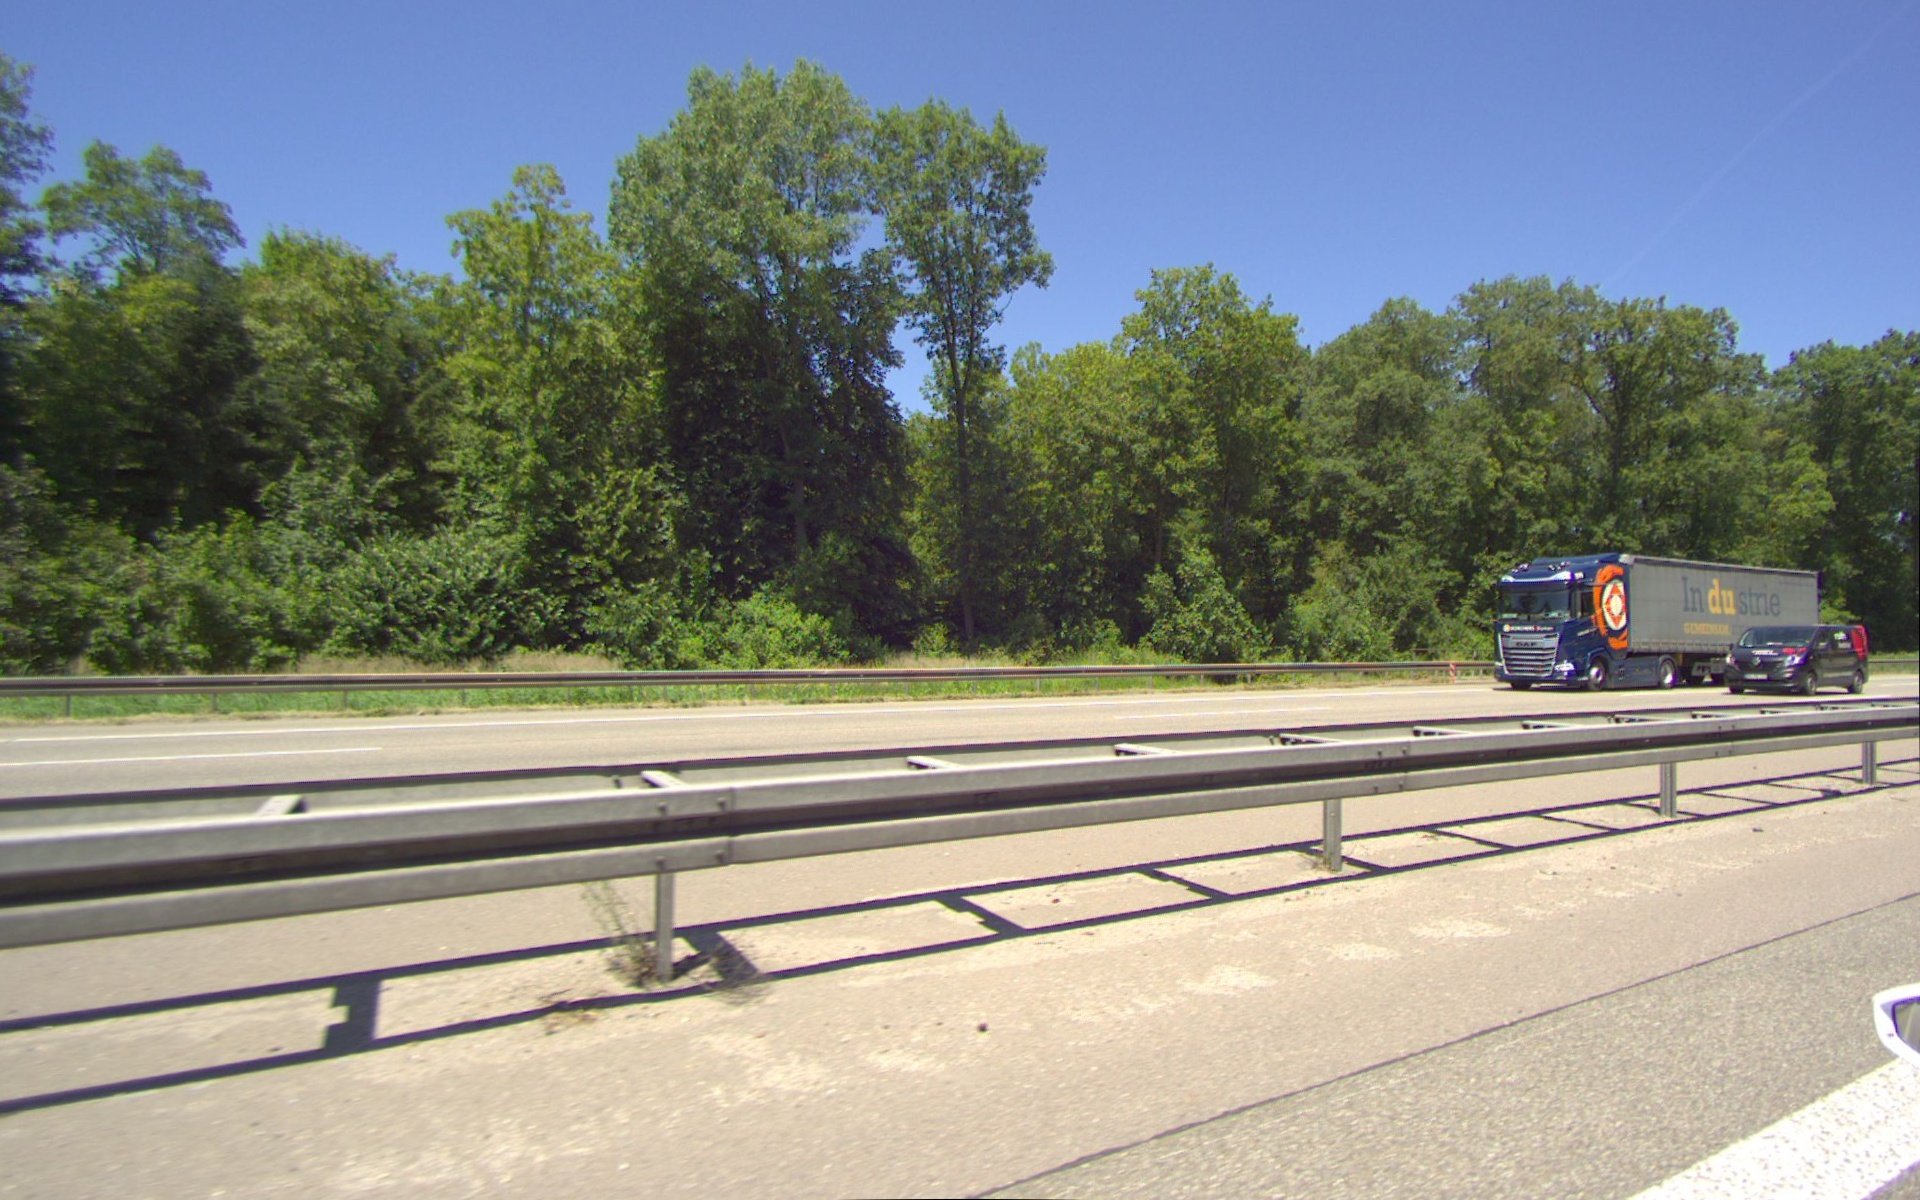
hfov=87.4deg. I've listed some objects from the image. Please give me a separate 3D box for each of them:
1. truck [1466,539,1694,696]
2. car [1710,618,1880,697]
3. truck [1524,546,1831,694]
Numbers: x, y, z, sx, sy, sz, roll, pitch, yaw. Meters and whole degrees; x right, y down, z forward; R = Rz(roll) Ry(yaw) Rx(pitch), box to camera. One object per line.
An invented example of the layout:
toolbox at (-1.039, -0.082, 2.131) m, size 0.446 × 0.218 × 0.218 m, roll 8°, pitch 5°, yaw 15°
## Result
truck at (19.266, 0.572, 31.167) m, size 6.537 × 4.399 × 3.307 m, roll 2°, pitch 0°, yaw -31°
car at (23.664, 1.636, 28.426) m, size 5.296 × 2.040 × 1.985 m, roll 2°, pitch -4°, yaw -30°
truck at (25.069, 0.794, 34.660) m, size 13.750 × 4.399 × 3.307 m, roll 2°, pitch 0°, yaw -31°
